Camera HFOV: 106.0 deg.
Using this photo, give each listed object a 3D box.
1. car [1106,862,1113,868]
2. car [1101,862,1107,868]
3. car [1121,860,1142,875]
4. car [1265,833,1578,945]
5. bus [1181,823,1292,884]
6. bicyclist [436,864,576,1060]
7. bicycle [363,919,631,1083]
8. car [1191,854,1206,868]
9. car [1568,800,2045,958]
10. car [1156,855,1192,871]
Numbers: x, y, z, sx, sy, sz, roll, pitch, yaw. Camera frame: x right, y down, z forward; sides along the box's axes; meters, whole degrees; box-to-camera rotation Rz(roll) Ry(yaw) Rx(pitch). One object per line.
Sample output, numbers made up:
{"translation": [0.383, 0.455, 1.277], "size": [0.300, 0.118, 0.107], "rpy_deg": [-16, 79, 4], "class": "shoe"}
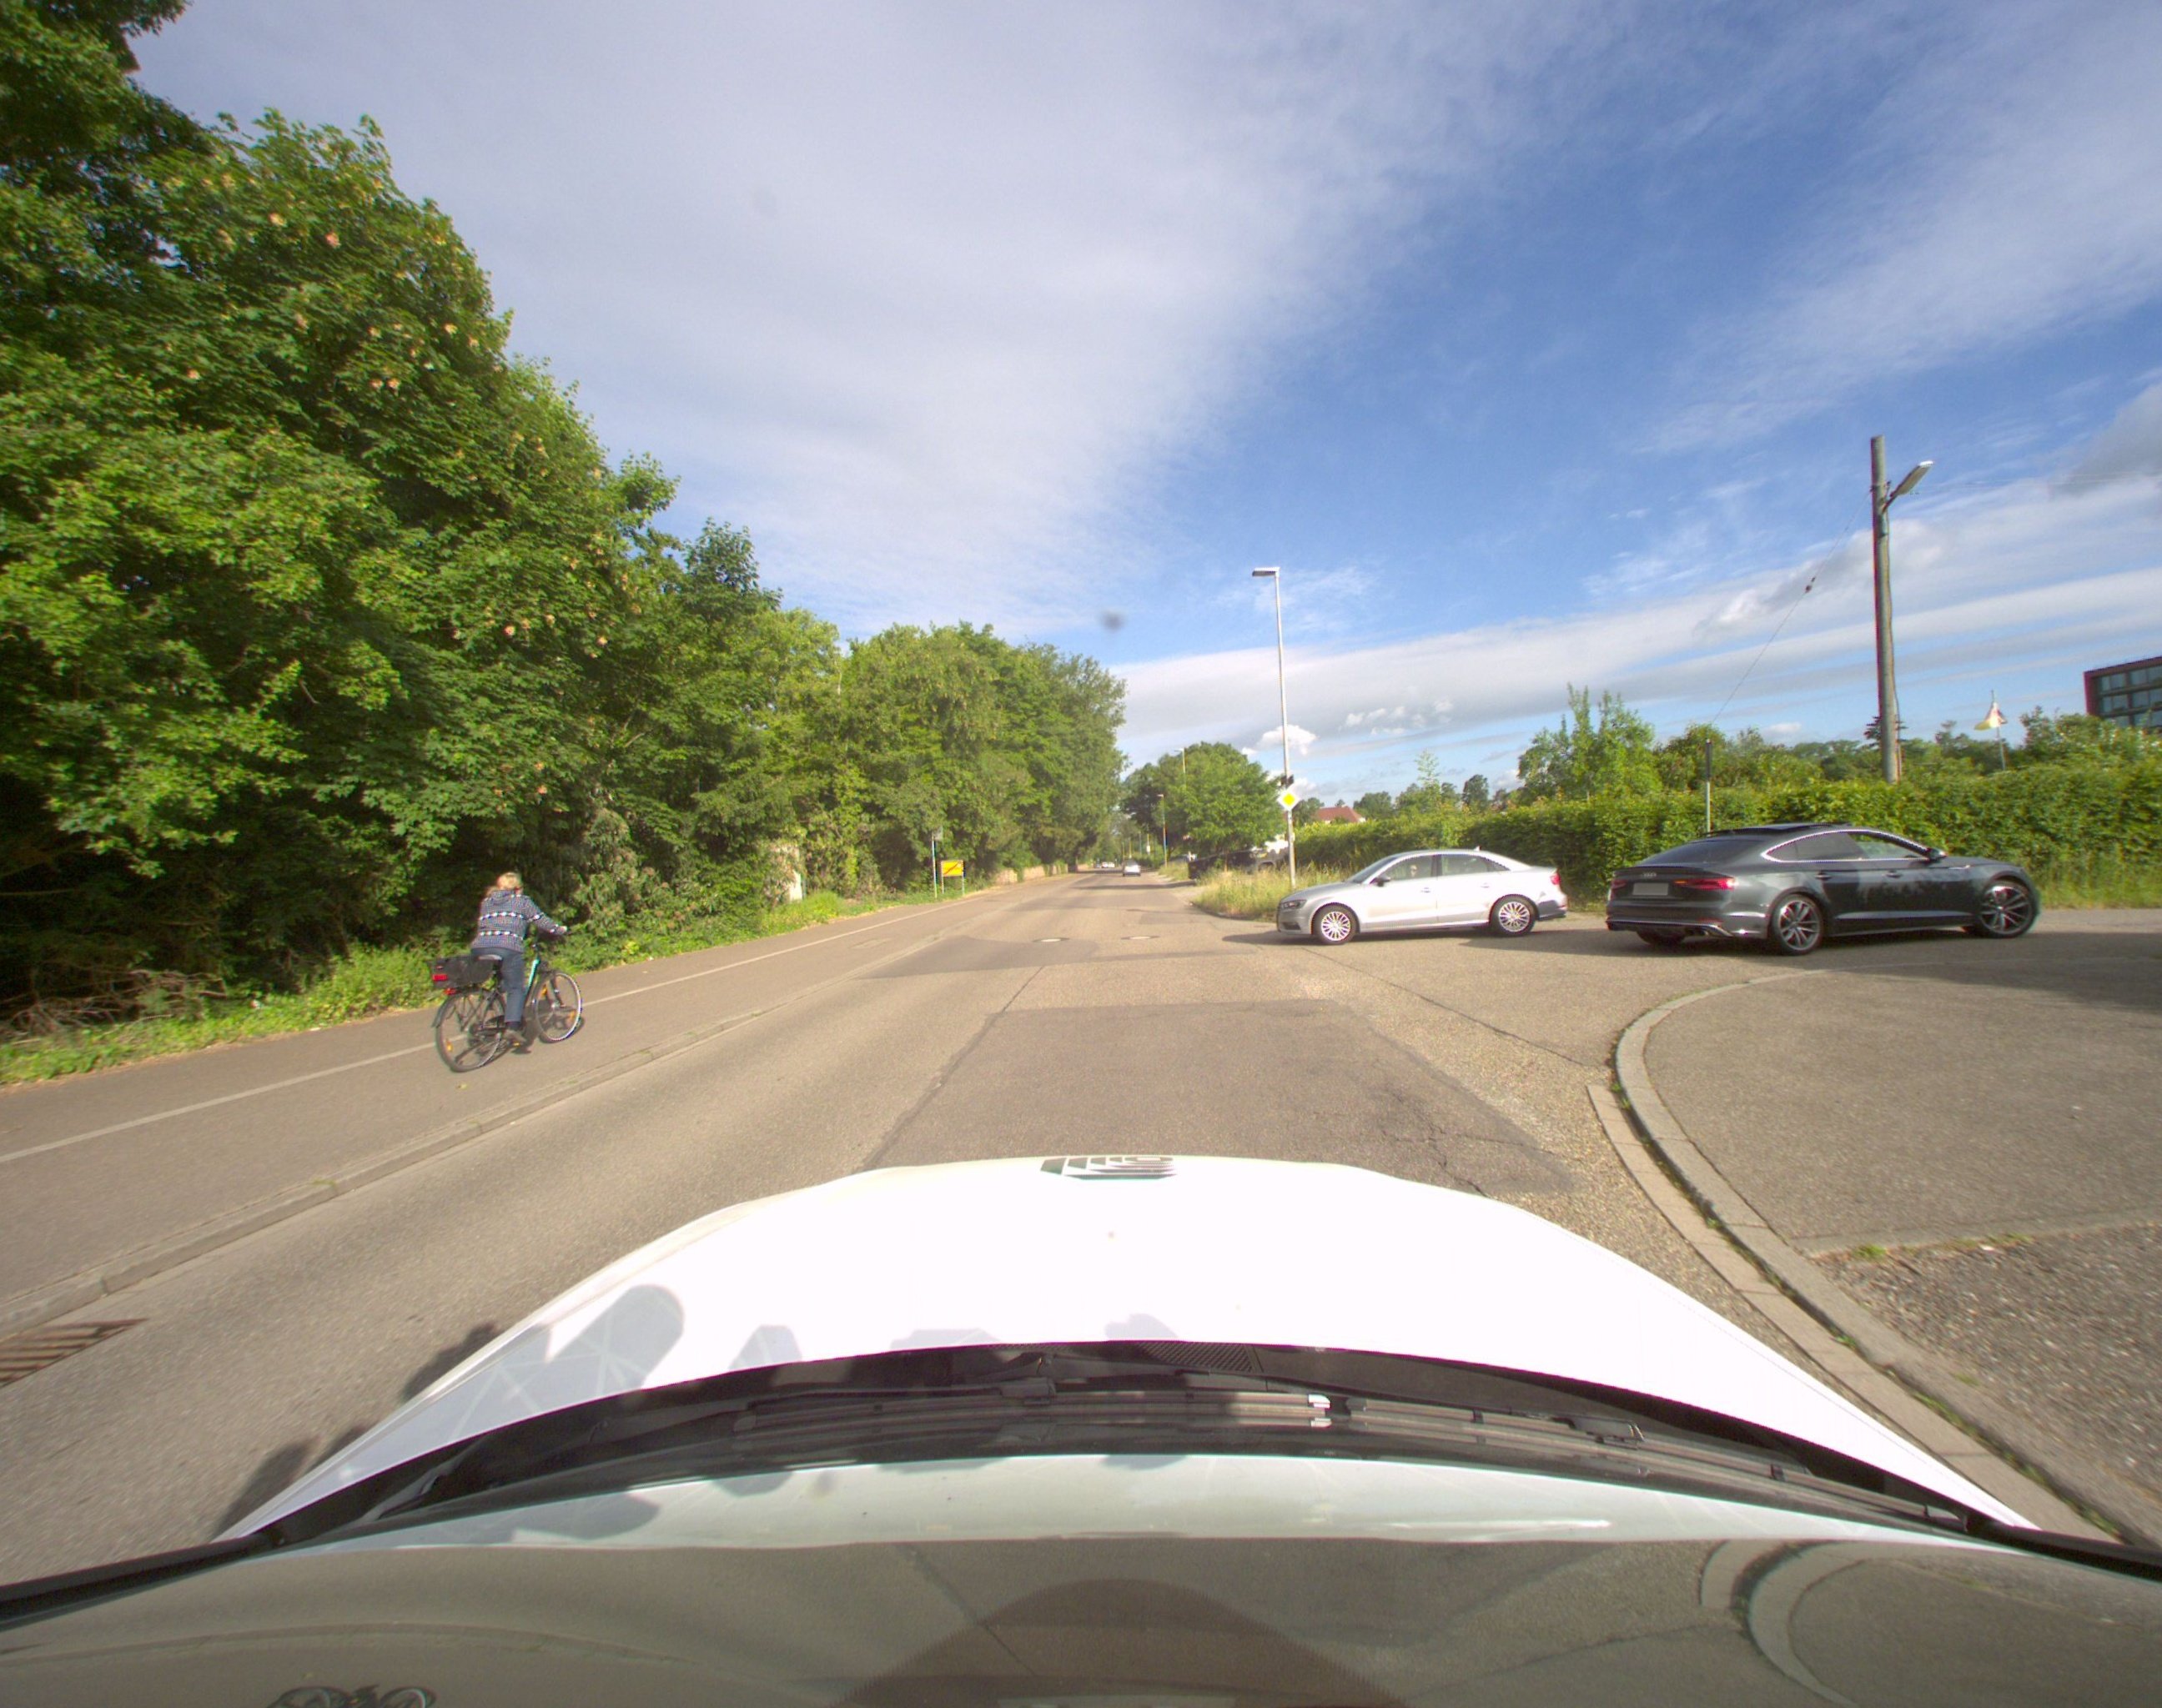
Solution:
{"translation": [7.629, 2.896, 218.542], "size": [1.880, 1.372, 4.055], "rpy_deg": [-3, -1, 1], "class": "car"}
{"translation": [7.049, 3.357, 248.970], "size": [1.879, 1.613, 4.057], "rpy_deg": [-3, -1, 2], "class": "car"}
{"translation": [4.779, 1.259, 77.284], "size": [1.879, 1.372, 4.057], "rpy_deg": [-3, -1, 2], "class": "car"}
{"translation": [5.316, 0.565, 13.313], "size": [4.336, 1.443, 1.937], "rpy_deg": [-4, -1, 9], "class": "car"}
{"translation": [8.146, -0.018, 42.984], "size": [5.348, 2.746, 2.068], "rpy_deg": [-4, 0, 0], "class": "bus"}
{"translation": [-5.254, 0.944, 7.489], "size": [0.606, 1.677, 0.884], "rpy_deg": [-1, -1, 3], "class": "bicyclist"}
{"translation": [-5.233, 1.248, 7.555], "size": [0.659, 1.097, 2.351], "rpy_deg": [-1, 0, 4], "class": "bicycle"}
{"translation": [14.840, 0.857, 102.569], "size": [1.341, 1.632, 4.127], "rpy_deg": [-5, -1, 13], "class": "car"}
{"translation": [8.453, 0.253, 9.680], "size": [4.323, 1.434, 1.965], "rpy_deg": [-3, -1, -11], "class": "car"}
{"translation": [11.983, 1.131, 104.616], "size": [4.384, 1.646, 2.002], "rpy_deg": [-5, -1, 3], "class": "car"}
